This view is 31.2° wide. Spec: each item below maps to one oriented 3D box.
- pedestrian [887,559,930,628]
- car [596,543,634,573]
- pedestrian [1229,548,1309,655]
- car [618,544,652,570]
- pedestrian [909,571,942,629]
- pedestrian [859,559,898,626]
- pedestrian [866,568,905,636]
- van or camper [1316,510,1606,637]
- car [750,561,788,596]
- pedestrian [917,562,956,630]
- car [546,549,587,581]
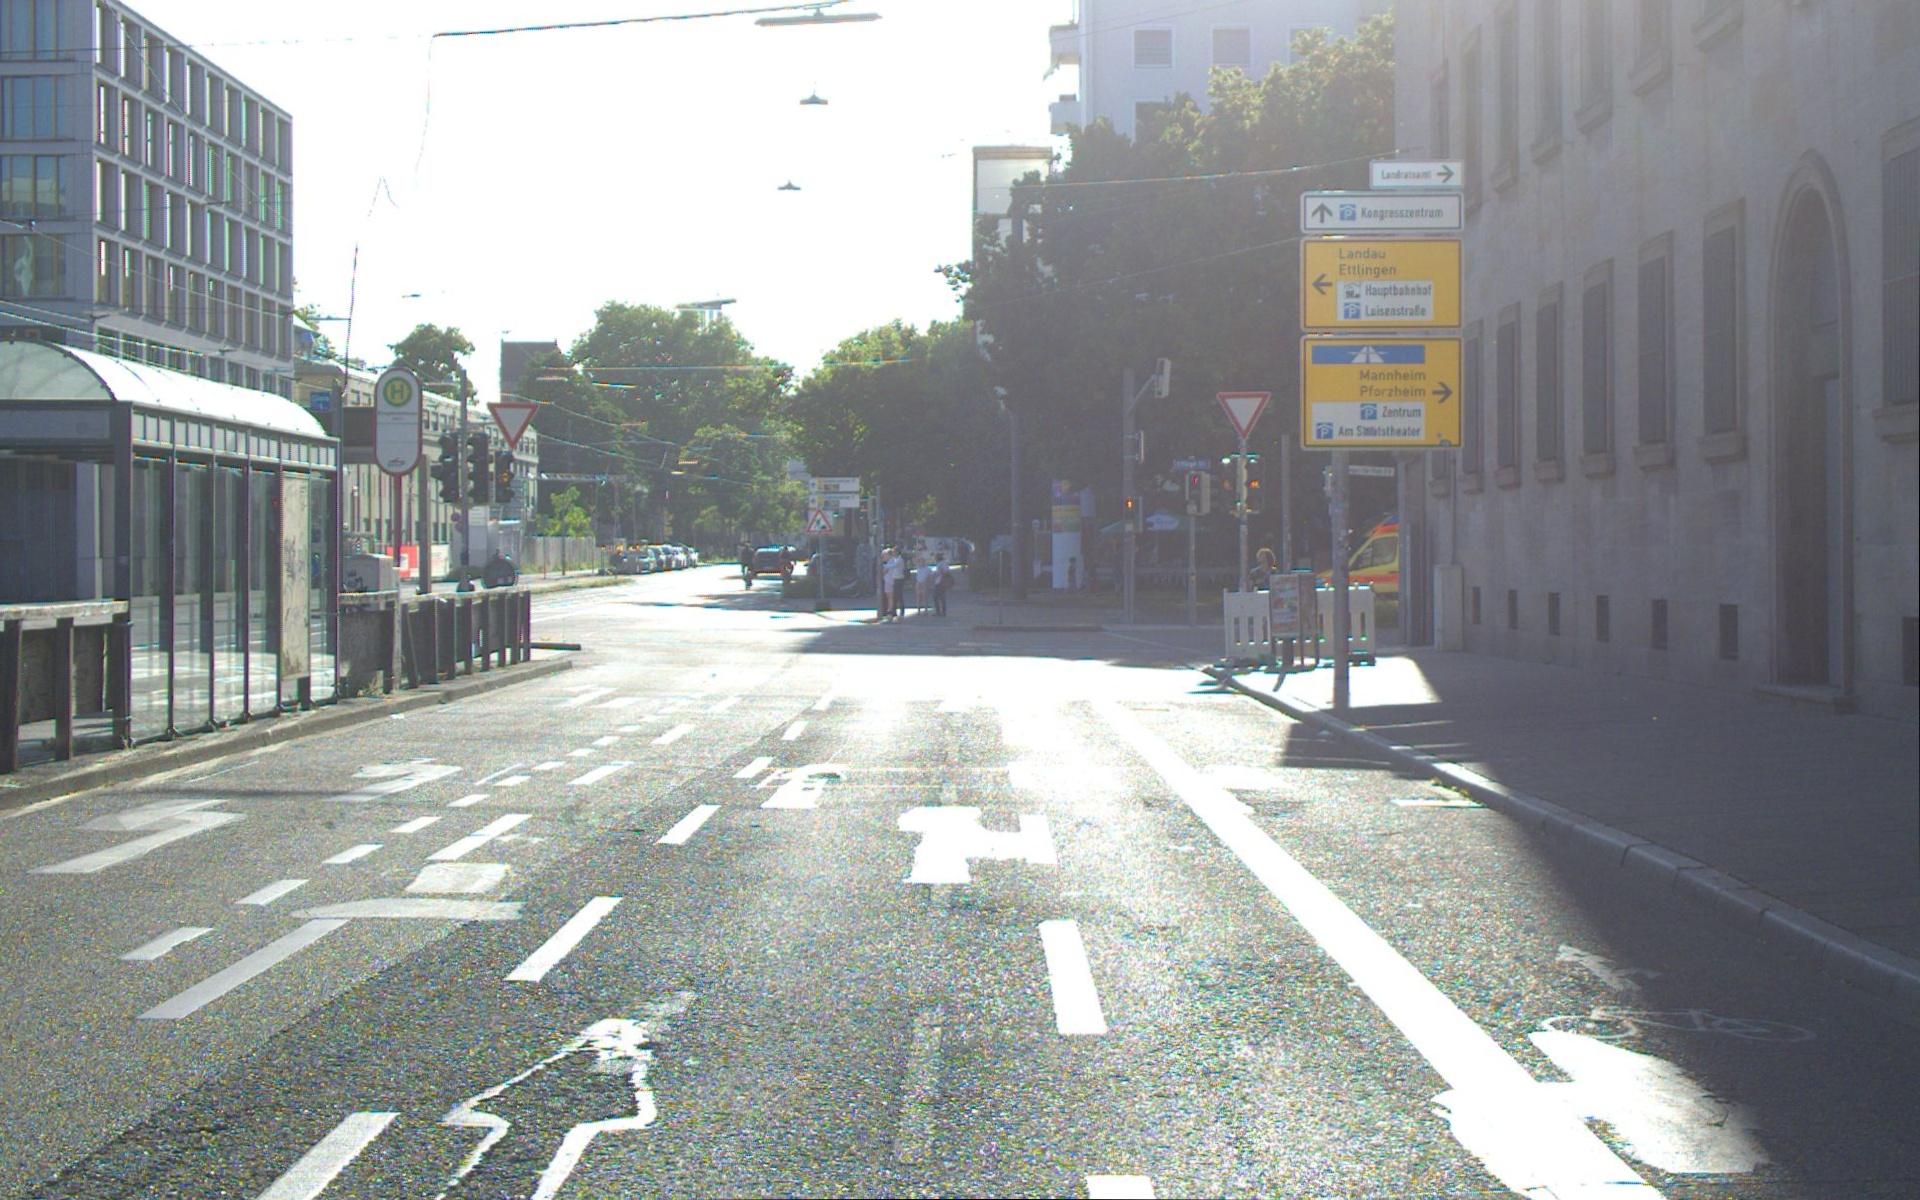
[{"bbox_3d":[-1.351,-0.181,89.995,0.965,1.778,0.780,-1,1,-16],"label":"pedestrian"},{"bbox_3d":[-20.144,-2.475,200.969,1.819,1.706,3.806,0,1,0],"label":"car"},{"bbox_3d":[5.013,0.019,55.878,1.039,1.715,1.035,-1,1,-11],"label":"pedestrian"},{"bbox_3d":[-19.386,-2.584,205.279,1.609,1.493,3.806,0,1,0],"label":"car"},{"bbox_3d":[-0.921,-0.002,91.797,0.762,1.553,0.588,-1,1,-16],"label":"pedestrian"},{"bbox_3d":[-2.191,-0.200,92.224,0.847,1.778,0.780,-1,1,-16],"label":"pedestrian"},{"bbox_3d":[-1.982,0.054,91.352,0.847,1.778,0.780,-1,1,-16],"label":"pedestrian"},{"bbox_3d":[12.026,-0.622,82.990,6.709,2.852,2.910,1,0,5],"label":"van or camper"},{"bbox_3d":[-9.884,-1.108,178.079,1.684,1.731,3.509,1,0,0],"label":"car"},{"bbox_3d":[-0.633,-0.101,91.027,0.847,1.778,0.780,-1,1,-16],"label":"pedestrian"},{"bbox_3d":[-21.653,-1.935,189.247,1.819,1.706,3.806,0,1,0],"label":"car"}]
